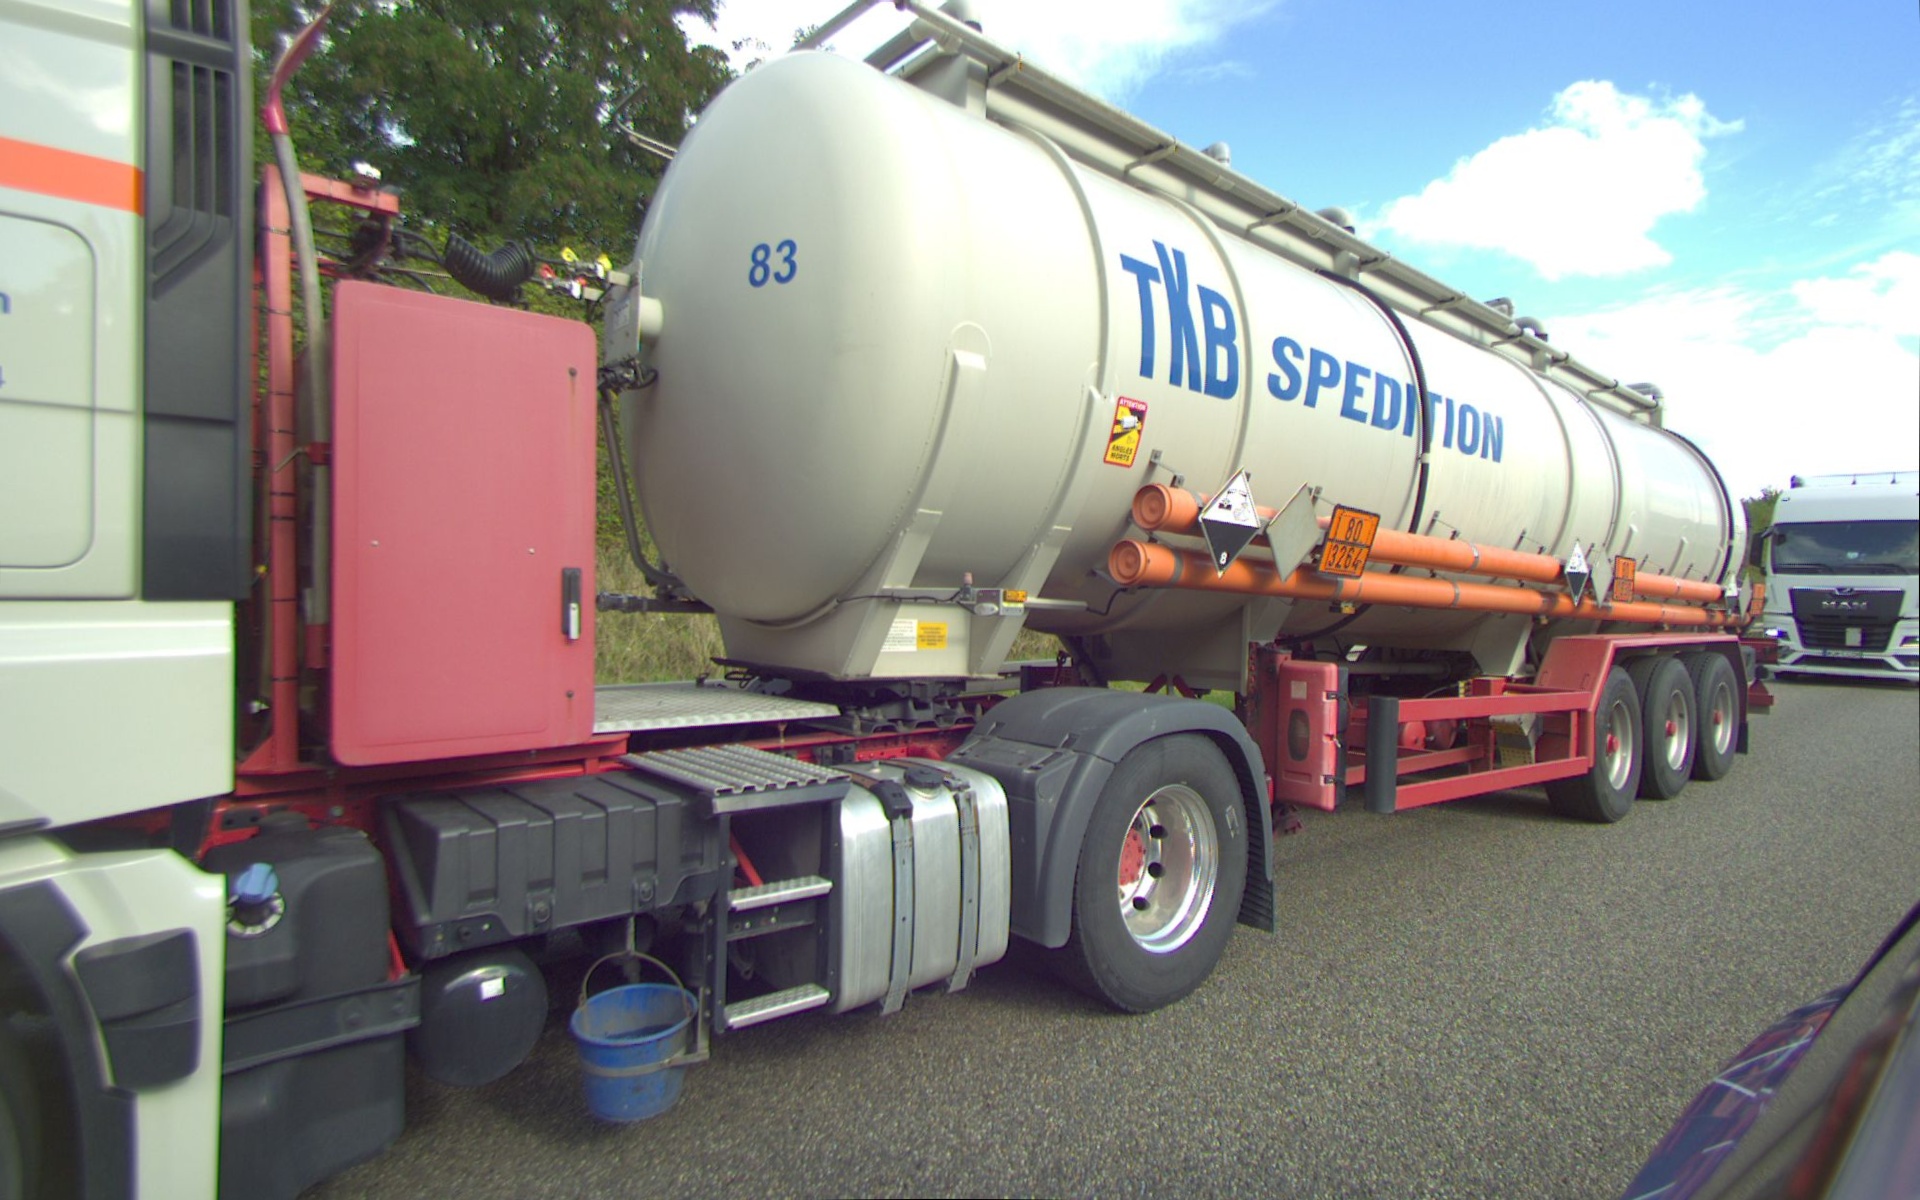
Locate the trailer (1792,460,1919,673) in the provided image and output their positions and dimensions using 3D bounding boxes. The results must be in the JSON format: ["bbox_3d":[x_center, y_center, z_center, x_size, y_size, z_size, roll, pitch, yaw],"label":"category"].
[{"bbox_3d":[23.208,-0.670,24.239,13.136,4.122,2.831,0,1,-41],"label":"trailer"}]

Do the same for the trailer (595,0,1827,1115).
[{"bbox_3d":[3.340,-0.724,7.310,10.985,4.077,2.803,0,0,-41],"label":"trailer"}]

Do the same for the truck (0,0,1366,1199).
[{"bbox_3d":[-1.528,-0.717,3.124,5.800,4.094,2.808,0,0,-41],"label":"truck"}]

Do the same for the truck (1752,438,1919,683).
[{"bbox_3d":[17.781,-0.686,19.563,5.607,4.123,2.839,0,0,-41],"label":"truck"}]
